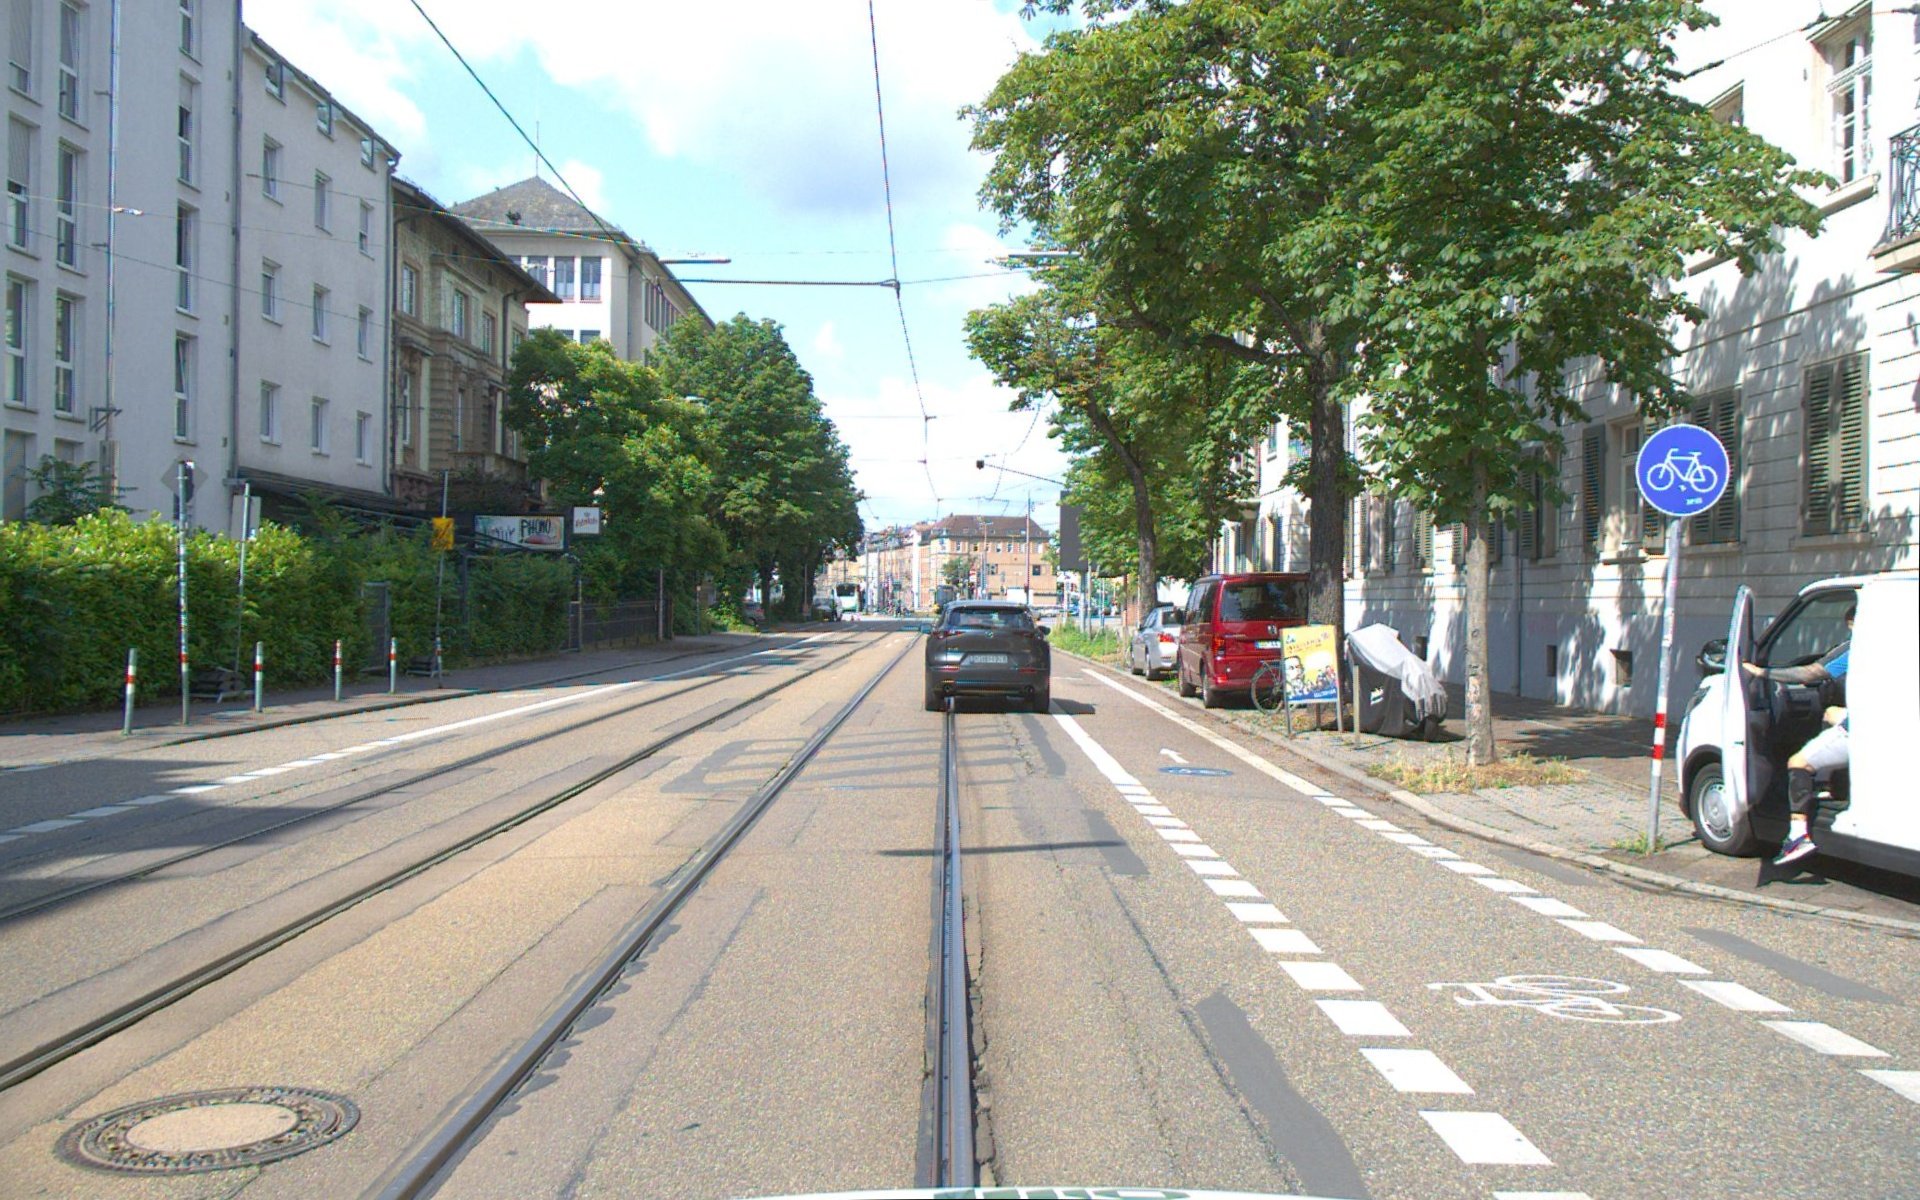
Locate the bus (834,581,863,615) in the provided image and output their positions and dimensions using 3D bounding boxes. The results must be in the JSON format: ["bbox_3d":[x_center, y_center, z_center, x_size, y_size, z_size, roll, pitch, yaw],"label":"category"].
[{"bbox_3d":[-12.580,-0.219,185.506,2.637,3.481,11.002,3,0,-6],"label":"bus"}]

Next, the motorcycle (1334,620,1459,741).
[{"bbox_3d":[5.051,0.894,19.305,0.778,1.293,2.422,1,0,-1],"label":"motorcycle"}]

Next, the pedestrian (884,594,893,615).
[{"bbox_3d":[-7.070,0.480,163.828,0.867,2.049,0.617,1,0,-5],"label":"pedestrian"}]

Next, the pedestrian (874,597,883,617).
[{"bbox_3d":[-8.121,0.691,163.987,0.867,2.049,0.617,1,0,-5],"label":"pedestrian"}]

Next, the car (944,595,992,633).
[{"bbox_3d":[0.305,0.607,72.444,1.953,1.555,3.999,3,0,-1],"label":"car"}]

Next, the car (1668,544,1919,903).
[{"bbox_3d":[6.140,0.685,9.273,1.753,1.972,4.984,0,0,-7],"label":"car"}]

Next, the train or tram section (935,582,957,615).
[{"bbox_3d":[-1.821,-0.186,207.009,2.519,3.838,13.023,1,0,-1],"label":"train or tram section"}]

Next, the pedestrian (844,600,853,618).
[{"bbox_3d":[-9.412,0.747,139.511,0.736,1.537,0.823,1,0,-5],"label":"pedestrian"}]

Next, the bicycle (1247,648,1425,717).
[{"bbox_3d":[5.044,1.099,22.250,2.229,0.876,0.671,1,0,-2],"label":"bicycle"}]

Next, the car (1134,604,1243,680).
[{"bbox_3d":[4.605,0.813,33.741,1.686,1.449,3.589,1,0,-1],"label":"car"}]

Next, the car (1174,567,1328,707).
[{"bbox_3d":[4.479,0.534,25.992,1.685,2.003,4.207,1,0,0],"label":"car"}]

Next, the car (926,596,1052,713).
[{"bbox_3d":[0.362,0.730,24.033,1.686,1.553,3.589,1,0,-1],"label":"car"}]

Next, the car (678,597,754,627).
[{"bbox_3d":[-12.506,0.614,84.969,3.673,1.309,1.609,3,0,-5],"label":"car"}]

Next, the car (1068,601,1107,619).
[{"bbox_3d":[13.016,1.059,169.016,3.769,1.646,1.620,3,0,-32],"label":"car"}]

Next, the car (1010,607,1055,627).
[{"bbox_3d":[6.609,1.558,151.221,3.748,1.646,1.629,3,0,-19],"label":"car"}]

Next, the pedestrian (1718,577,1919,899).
[{"bbox_3d":[5.315,0.803,10.142,0.800,1.868,0.960,1,0,-10],"label":"pedestrian"}]
